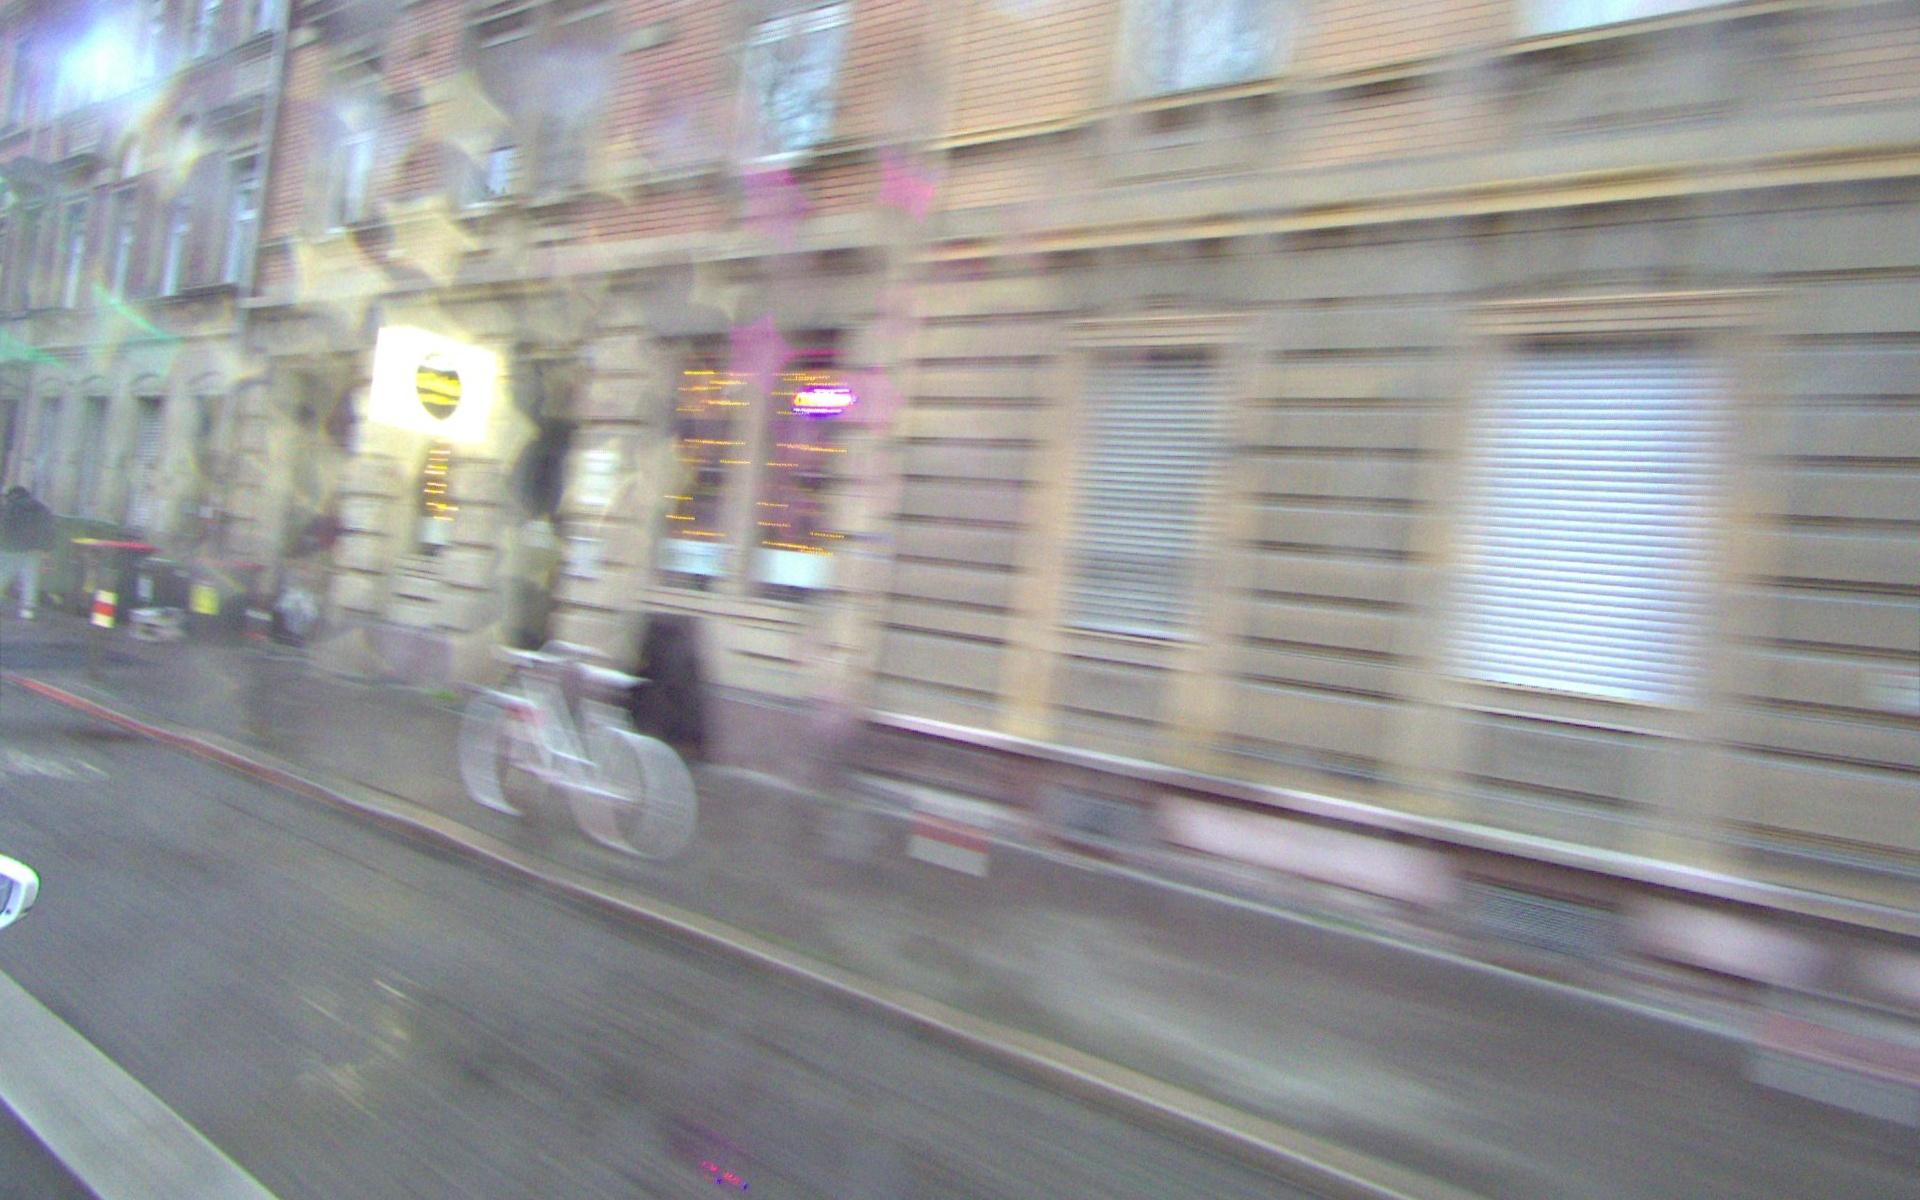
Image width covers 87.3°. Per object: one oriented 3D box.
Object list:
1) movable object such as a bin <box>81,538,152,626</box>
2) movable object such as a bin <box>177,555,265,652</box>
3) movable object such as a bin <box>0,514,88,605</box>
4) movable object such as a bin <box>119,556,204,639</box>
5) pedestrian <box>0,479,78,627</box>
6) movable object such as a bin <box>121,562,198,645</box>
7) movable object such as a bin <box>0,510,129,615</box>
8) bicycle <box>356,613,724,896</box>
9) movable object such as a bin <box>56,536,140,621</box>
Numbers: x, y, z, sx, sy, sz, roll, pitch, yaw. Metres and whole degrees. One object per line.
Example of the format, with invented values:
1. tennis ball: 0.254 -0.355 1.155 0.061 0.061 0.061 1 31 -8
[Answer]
1. movable object such as a bin: -11.416 -0.243 13.611 0.609 1.095 0.592 8 0 -44
2. movable object such as a bin: -8.988 0.056 12.252 0.482 1.093 0.613 7 0 3
3. movable object such as a bin: -13.814 -0.601 15.113 0.805 1.225 0.766 7 0 31
4. movable object such as a bin: -10.031 -0.025 12.646 0.483 0.940 0.612 7 0 30
5. pedestrian: -11.861 -0.602 12.659 0.939 1.720 0.834 6 -2 40
6. movable object such as a bin: -9.696 0.054 12.196 0.417 0.940 0.490 7 0 5
7. movable object such as a bin: -12.868 -0.532 14.429 1.239 1.304 0.890 7 -1 24
8. bicycle: -2.443 0.792 5.740 2.152 1.169 0.685 6 -2 32
9. movable object such as a bin: -11.941 -0.293 13.938 0.763 1.051 0.592 8 -1 -44
